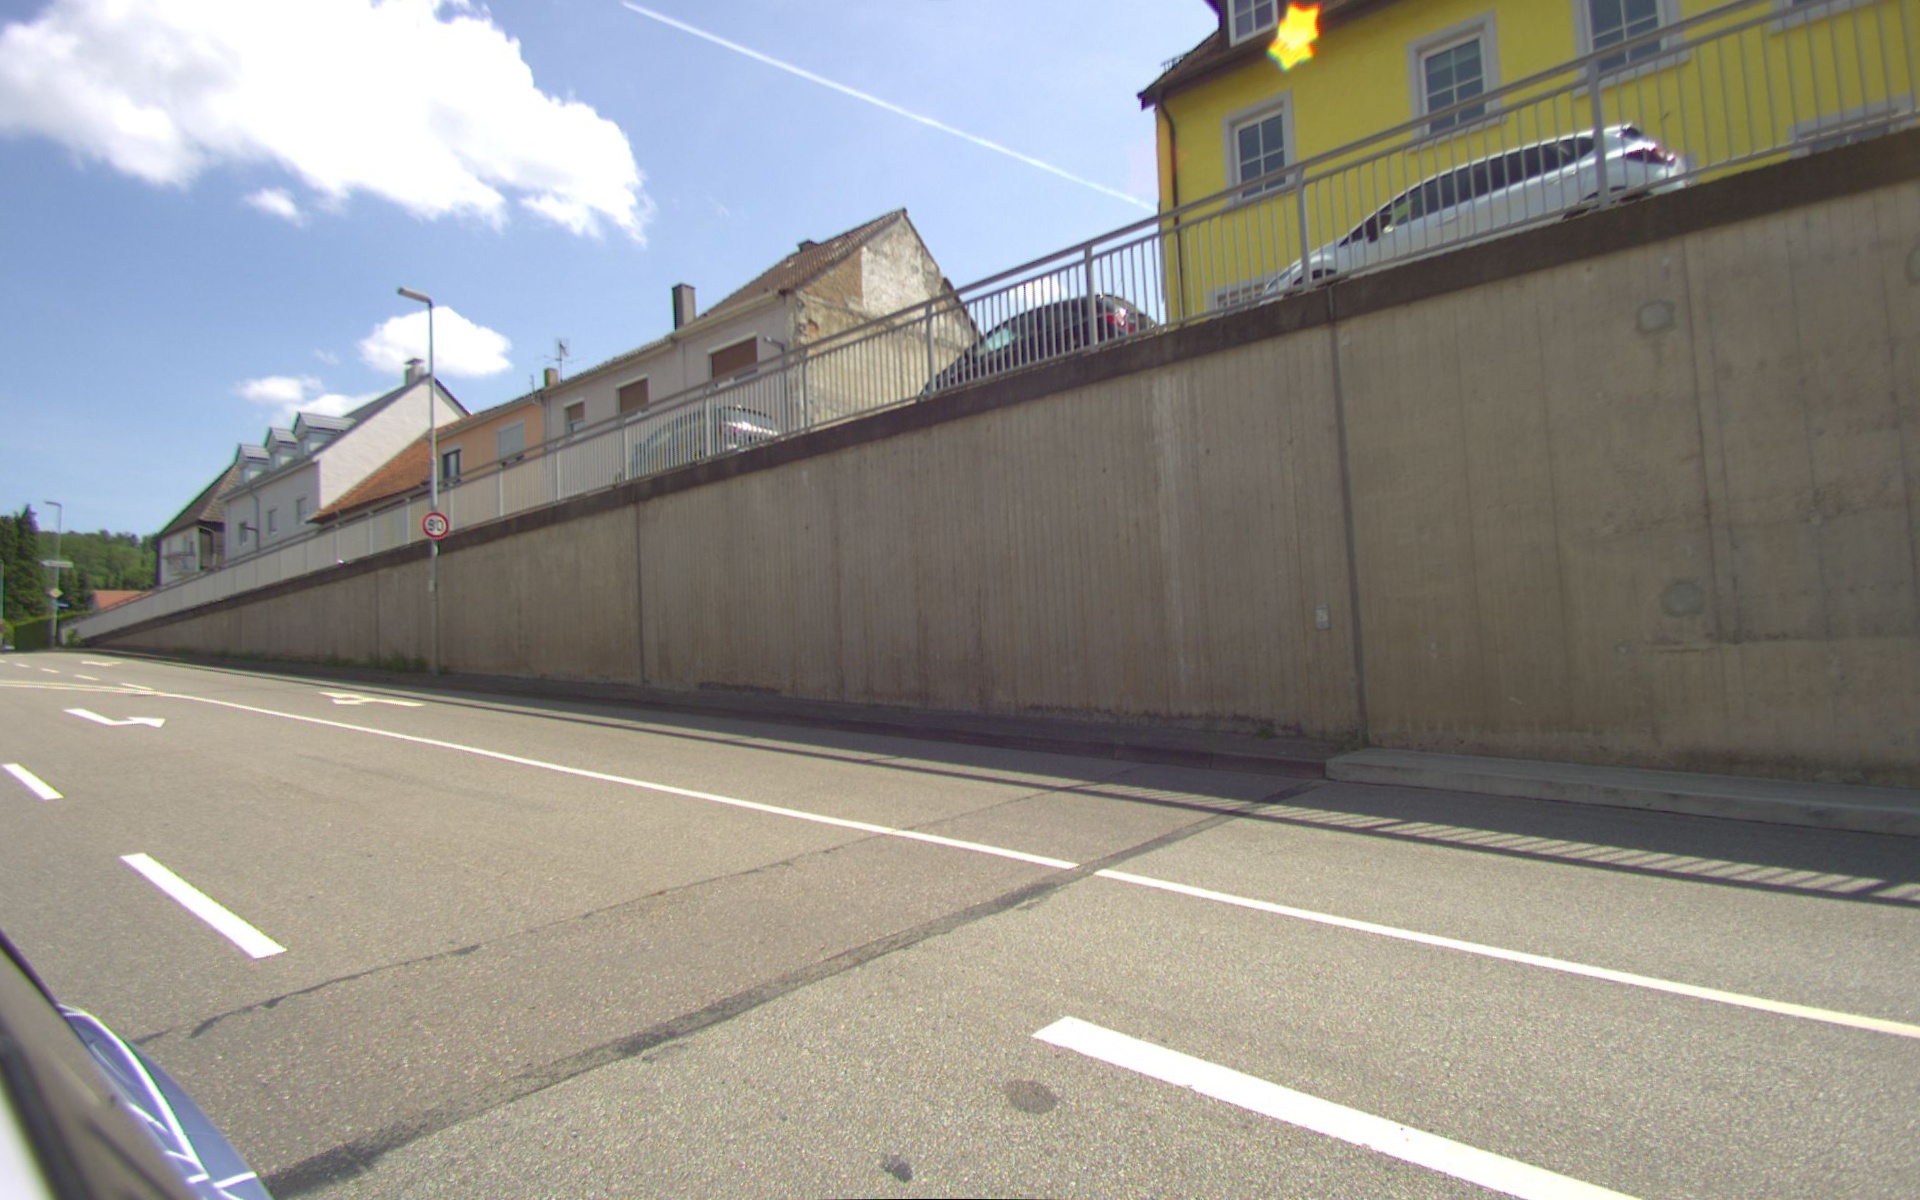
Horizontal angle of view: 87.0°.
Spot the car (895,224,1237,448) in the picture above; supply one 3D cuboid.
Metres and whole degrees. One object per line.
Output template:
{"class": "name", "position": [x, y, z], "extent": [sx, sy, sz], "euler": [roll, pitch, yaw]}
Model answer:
{"class": "car", "position": [1.308, -3.318, 13.590], "extent": [4.218, 1.718, 1.804], "euler": [-4, -3, 39]}

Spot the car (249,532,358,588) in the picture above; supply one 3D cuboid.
{"class": "car", "position": [-21.729, -1.265, 33.437], "extent": [4.388, 1.416, 1.768], "euler": [-4, -3, 39]}

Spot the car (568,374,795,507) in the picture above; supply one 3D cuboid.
{"class": "car", "position": [-5.192, -2.795, 18.575], "extent": [4.388, 1.536, 1.781], "euler": [-4, -3, 39]}

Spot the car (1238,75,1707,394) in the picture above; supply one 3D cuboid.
{"class": "car", "position": [5.221, -3.506, 10.574], "extent": [3.996, 1.681, 1.883], "euler": [-4, -3, 39]}
